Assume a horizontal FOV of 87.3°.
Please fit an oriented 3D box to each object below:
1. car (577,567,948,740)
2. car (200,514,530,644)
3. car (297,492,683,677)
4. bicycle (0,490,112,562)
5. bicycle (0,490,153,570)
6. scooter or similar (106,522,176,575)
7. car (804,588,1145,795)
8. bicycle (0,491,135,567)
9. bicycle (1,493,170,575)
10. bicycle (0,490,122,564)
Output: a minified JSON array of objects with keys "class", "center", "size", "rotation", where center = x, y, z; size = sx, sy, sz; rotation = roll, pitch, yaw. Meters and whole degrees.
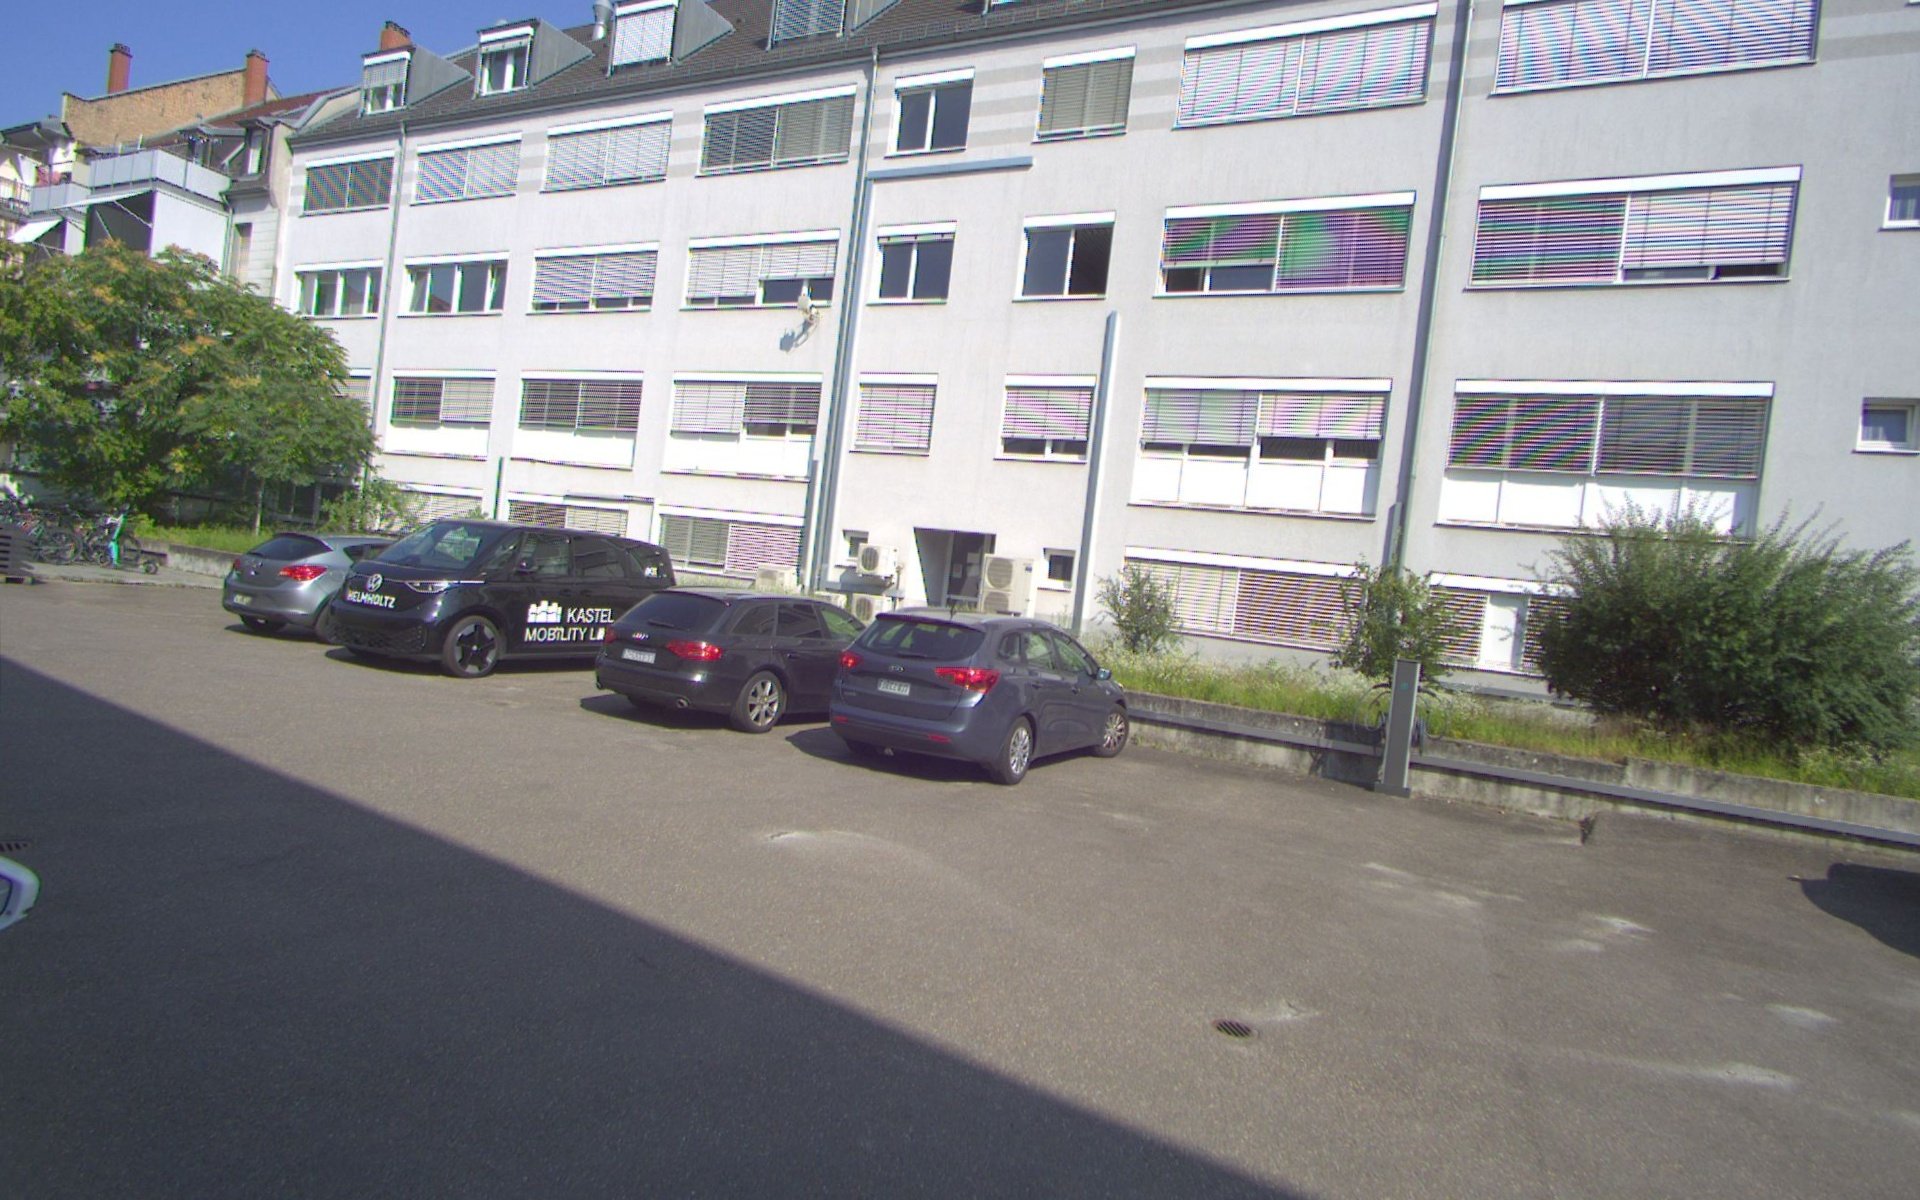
[{"class":"car","center":[-2.014,0.620,11.553],"size":[1.662,1.455,4.238],"rotation":[8,0,31]},{"class":"car","center":[-8.438,-0.208,14.694],"size":[1.632,1.484,3.908],"rotation":[7,0,19]},{"class":"car","center":[-5.920,-0.105,13.324],"size":[1.880,1.882,4.346],"rotation":[7,0,23]},{"class":"bicycle","center":[-19.749,-1.608,21.458],"size":[0.518,1.261,2.414],"rotation":[7,-1,32]},{"class":"bicycle","center":[-17.995,-1.390,20.401],"size":[0.518,1.261,2.414],"rotation":[7,-1,32]},{"class":"scooter or similar","center":[-16.637,-1.039,20.440],"size":[0.982,0.935,0.360],"rotation":[8,0,-6]},{"class":"car","center":[0.380,0.850,10.307],"size":[1.712,1.496,4.054],"rotation":[8,0,28]},{"class":"bicycle","center":[-18.667,-1.462,20.743],"size":[0.518,1.261,2.414],"rotation":[7,-1,32]},{"class":"bicycle","center":[-17.372,-1.276,20.063],"size":[0.518,1.261,2.414],"rotation":[7,-1,32]},{"class":"bicycle","center":[-19.221,-1.546,21.080],"size":[0.518,1.261,2.414],"rotation":[7,-1,32]}]
